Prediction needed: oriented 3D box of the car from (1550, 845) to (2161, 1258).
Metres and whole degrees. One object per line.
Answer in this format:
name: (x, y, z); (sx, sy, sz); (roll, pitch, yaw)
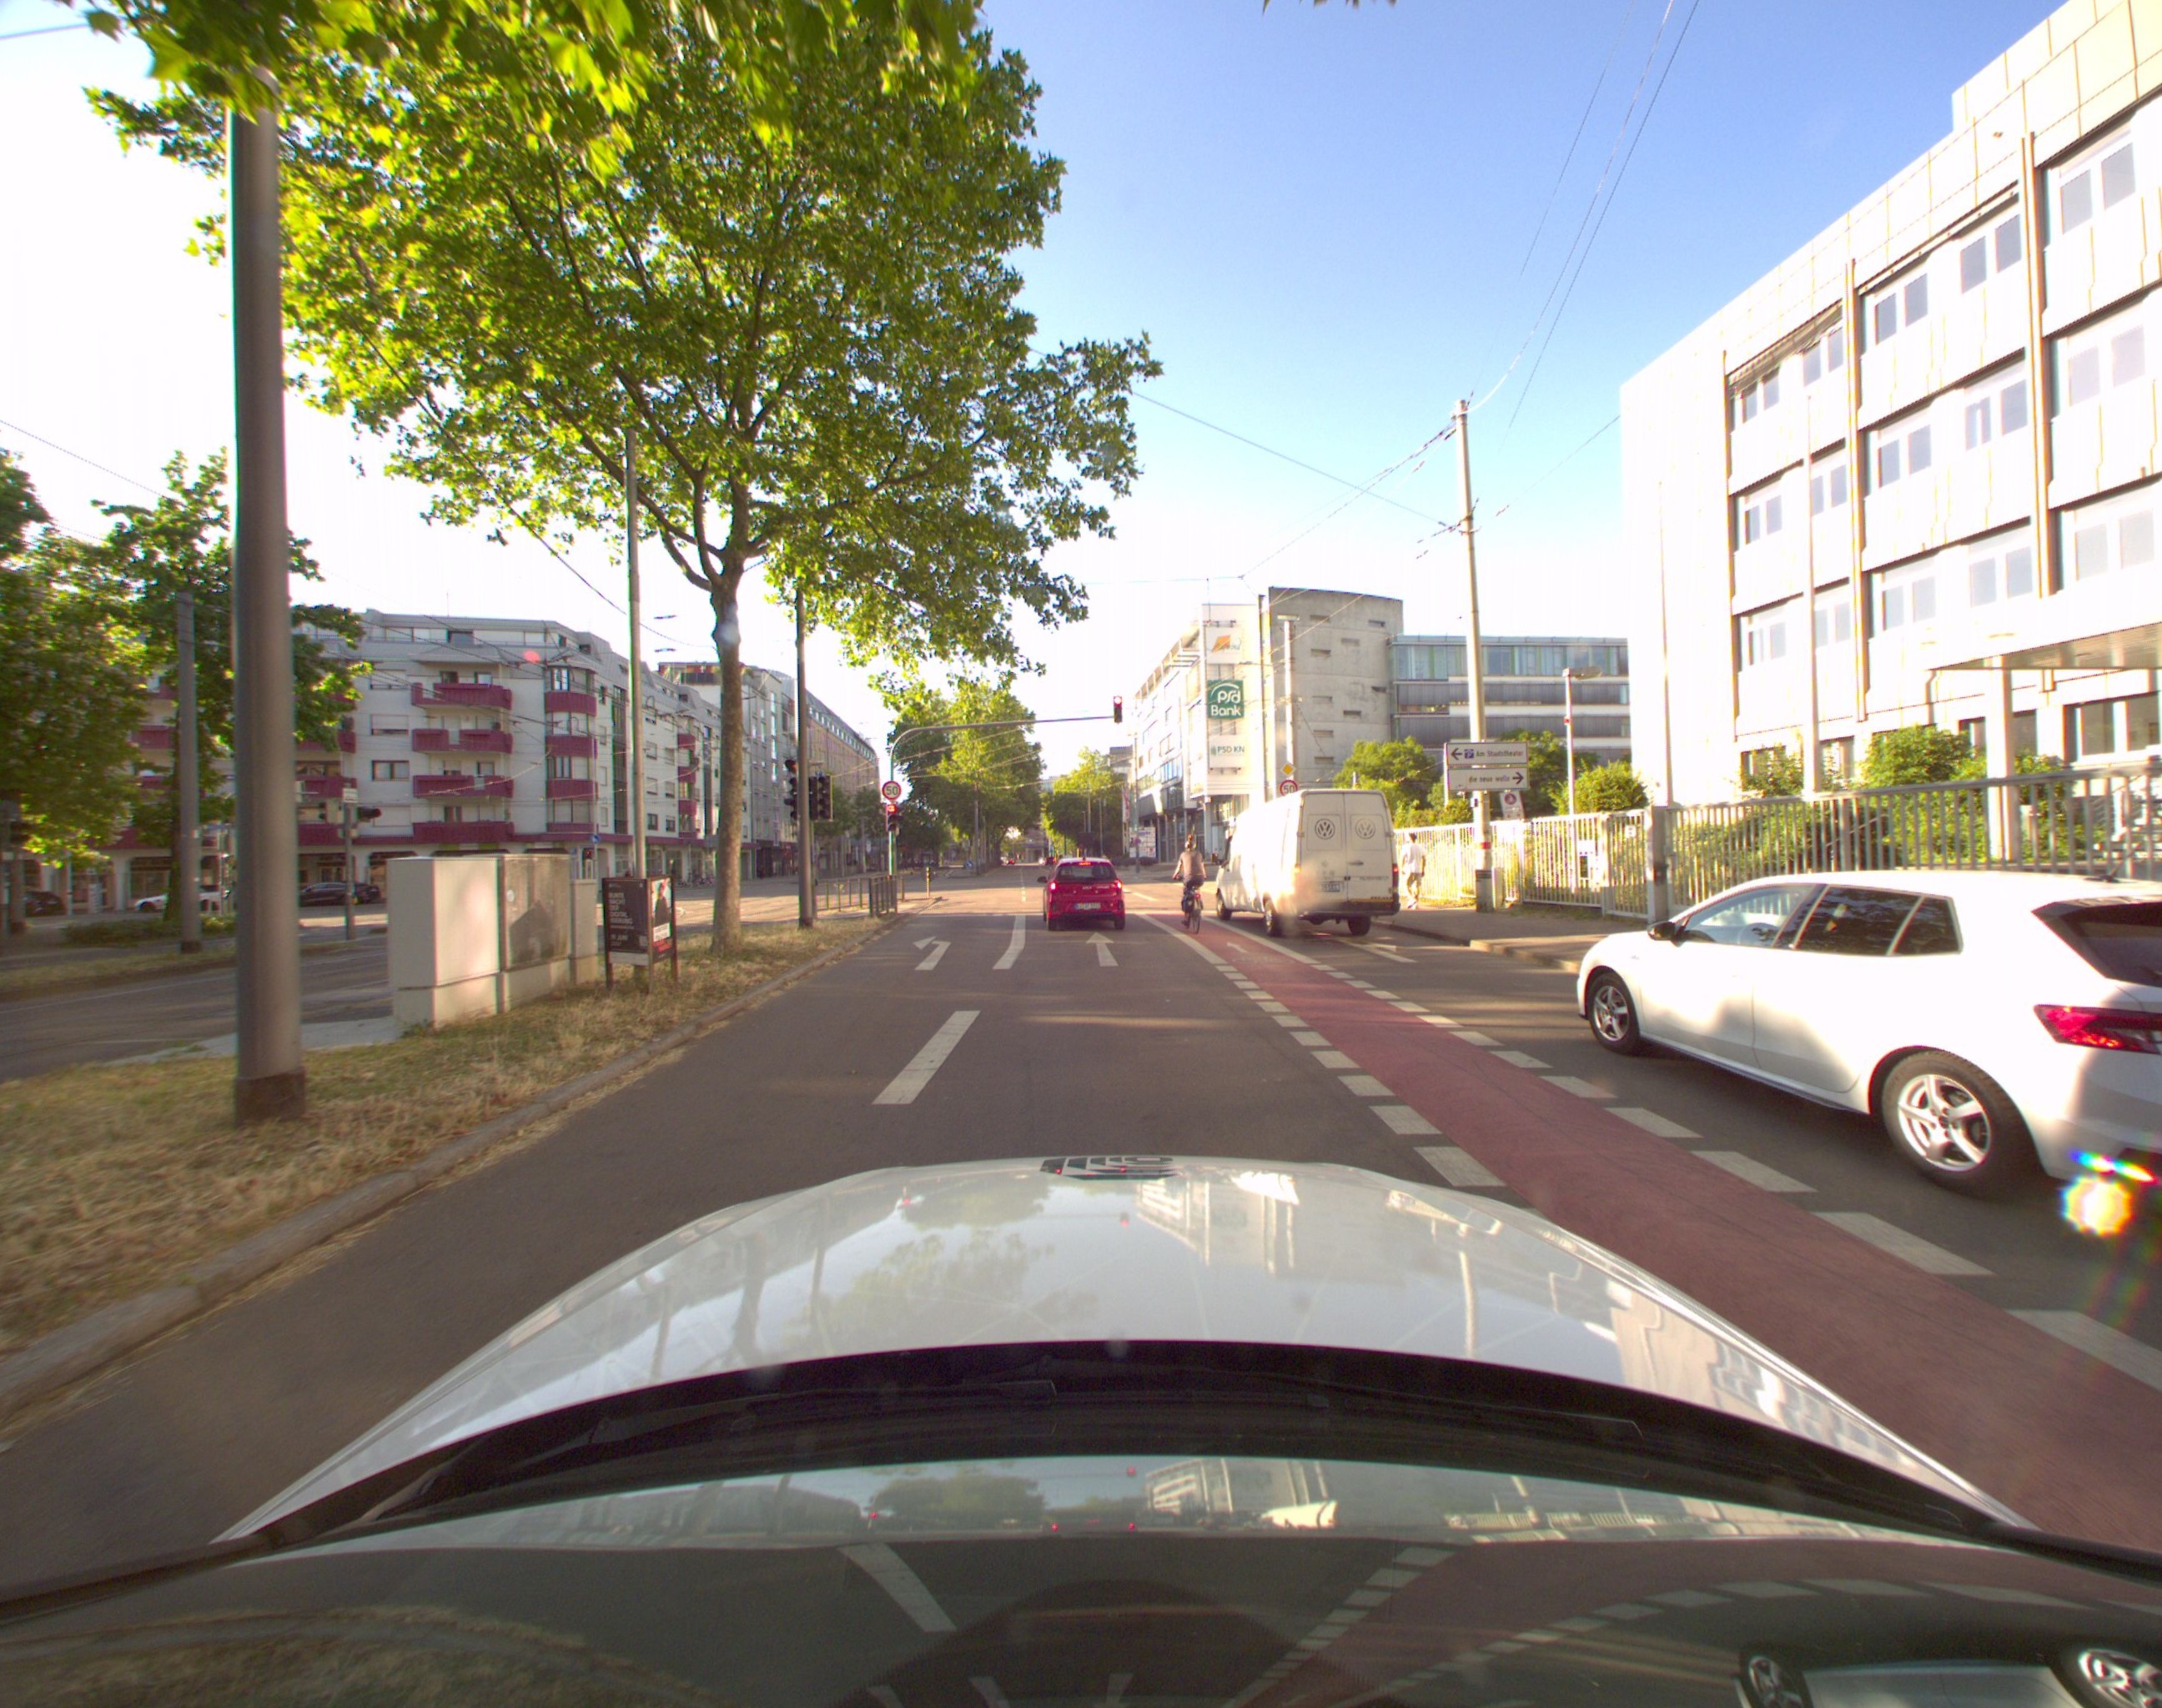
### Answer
car: (4.814, 0.715, 4.933); (1.794, 1.501, 3.984); (-1, 0, 3)

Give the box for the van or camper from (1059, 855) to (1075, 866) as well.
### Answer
van or camper: (-2.497, 1.180, 143.347); (2.144, 1.750, 4.420); (-2, 0, -8)

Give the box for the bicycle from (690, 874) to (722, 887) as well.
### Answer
bicycle: (-29.349, 2.061, 63.723); (2.168, 0.951, 0.490); (-2, 0, -9)

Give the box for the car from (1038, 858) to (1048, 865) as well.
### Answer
car: (-8.880, 1.659, 190.958); (1.883, 1.528, 4.420); (-2, 0, -8)

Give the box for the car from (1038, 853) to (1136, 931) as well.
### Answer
car: (0.027, 0.758, 18.089); (1.836, 1.489, 3.710); (-2, 0, -5)

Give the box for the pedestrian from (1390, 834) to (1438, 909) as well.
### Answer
pedestrian: (7.979, 0.413, 19.525); (0.783, 1.748, 0.772); (-2, 0, 0)

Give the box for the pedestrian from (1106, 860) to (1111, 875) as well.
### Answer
pedestrian: (3.017, 1.453, 88.502); (0.296, 1.562, 0.352); (-2, 0, -32)

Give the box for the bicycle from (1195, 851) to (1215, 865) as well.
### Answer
bicycle: (13.149, 0.442, 86.351); (1.932, 1.443, 0.574); (-2, 0, -7)

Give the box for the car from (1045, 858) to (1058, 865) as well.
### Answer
car: (-6.315, 1.616, 174.047); (2.476, 1.528, 4.421); (-3, 0, -6)

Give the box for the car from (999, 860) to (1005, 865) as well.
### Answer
car: (-22.971, 2.540, 236.490); (1.573, 1.306, 3.333); (-3, 0, -6)

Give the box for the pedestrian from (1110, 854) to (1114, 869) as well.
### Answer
pedestrian: (3.394, 0.819, 88.478); (0.295, 1.562, 0.312); (-2, 0, -19)

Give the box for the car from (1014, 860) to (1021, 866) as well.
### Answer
car: (-16.872, 2.407, 216.211); (1.655, 1.607, 3.524); (-2, 0, -6)

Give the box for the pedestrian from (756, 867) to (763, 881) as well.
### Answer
pedestrian: (-33.903, 2.135, 85.985); (0.509, 1.459, 0.527); (-2, 0, -4)

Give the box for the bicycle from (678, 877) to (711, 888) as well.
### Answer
bicycle: (-29.275, 2.154, 61.722); (2.168, 0.787, 0.490); (-2, 0, -9)

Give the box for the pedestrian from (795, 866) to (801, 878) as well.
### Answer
pedestrian: (-34.538, 2.184, 99.443); (0.510, 1.459, 0.527); (-2, 0, -7)

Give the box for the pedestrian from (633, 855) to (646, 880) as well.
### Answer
pedestrian: (-30.948, 0.954, 57.048); (0.507, 1.699, 0.529); (-2, 0, 9)

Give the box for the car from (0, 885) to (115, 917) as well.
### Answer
car: (-55.856, 2.555, 44.233); (3.994, 1.464, 1.792); (-3, 0, -15)

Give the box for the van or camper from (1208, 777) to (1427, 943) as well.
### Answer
van or camper: (4.439, 0.110, 16.673); (2.264, 2.733, 6.338); (1, 0, -4)

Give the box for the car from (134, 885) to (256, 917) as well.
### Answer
car: (-49.451, 2.584, 45.568); (4.265, 1.464, 1.792); (-3, 0, -15)

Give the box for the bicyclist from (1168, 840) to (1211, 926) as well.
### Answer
bicyclist: (2.150, 0.556, 16.218); (0.741, 1.669, 0.744); (0, 0, -4)

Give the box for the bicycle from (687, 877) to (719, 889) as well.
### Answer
bicycle: (-29.246, 2.221, 63.086); (2.168, 0.824, 0.526); (-2, 0, -9)

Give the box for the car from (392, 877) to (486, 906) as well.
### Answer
car: (-38.226, 2.191, 48.595); (3.996, 1.464, 1.791); (-3, 0, -17)

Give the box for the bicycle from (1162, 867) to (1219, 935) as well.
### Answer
bicycle: (2.151, 0.886, 16.288); (0.742, 1.224, 2.153); (0, 0, -3)

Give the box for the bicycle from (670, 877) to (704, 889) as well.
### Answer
bicycle: (-29.466, 2.142, 60.941); (2.168, 0.787, 0.639); (-2, 0, -9)

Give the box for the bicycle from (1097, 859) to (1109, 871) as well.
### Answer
bicycle: (2.184, 1.125, 81.208); (0.791, 1.161, 2.495); (-2, 0, -5)

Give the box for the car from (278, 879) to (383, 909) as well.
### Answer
car: (-43.286, 2.271, 47.056); (3.997, 1.464, 1.791); (-3, 0, -17)

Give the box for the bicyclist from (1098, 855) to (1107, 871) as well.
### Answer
bicyclist: (2.176, 0.891, 81.209); (0.784, 1.635, 0.638); (-2, 0, -6)

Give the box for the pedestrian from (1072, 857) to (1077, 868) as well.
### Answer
pedestrian: (-1.069, 1.375, 131.483); (0.741, 1.716, 0.747); (-2, 0, -4)

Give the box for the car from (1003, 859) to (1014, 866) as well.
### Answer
car: (-16.591, 1.918, 186.449); (2.057, 1.654, 3.480); (-2, 0, -10)
